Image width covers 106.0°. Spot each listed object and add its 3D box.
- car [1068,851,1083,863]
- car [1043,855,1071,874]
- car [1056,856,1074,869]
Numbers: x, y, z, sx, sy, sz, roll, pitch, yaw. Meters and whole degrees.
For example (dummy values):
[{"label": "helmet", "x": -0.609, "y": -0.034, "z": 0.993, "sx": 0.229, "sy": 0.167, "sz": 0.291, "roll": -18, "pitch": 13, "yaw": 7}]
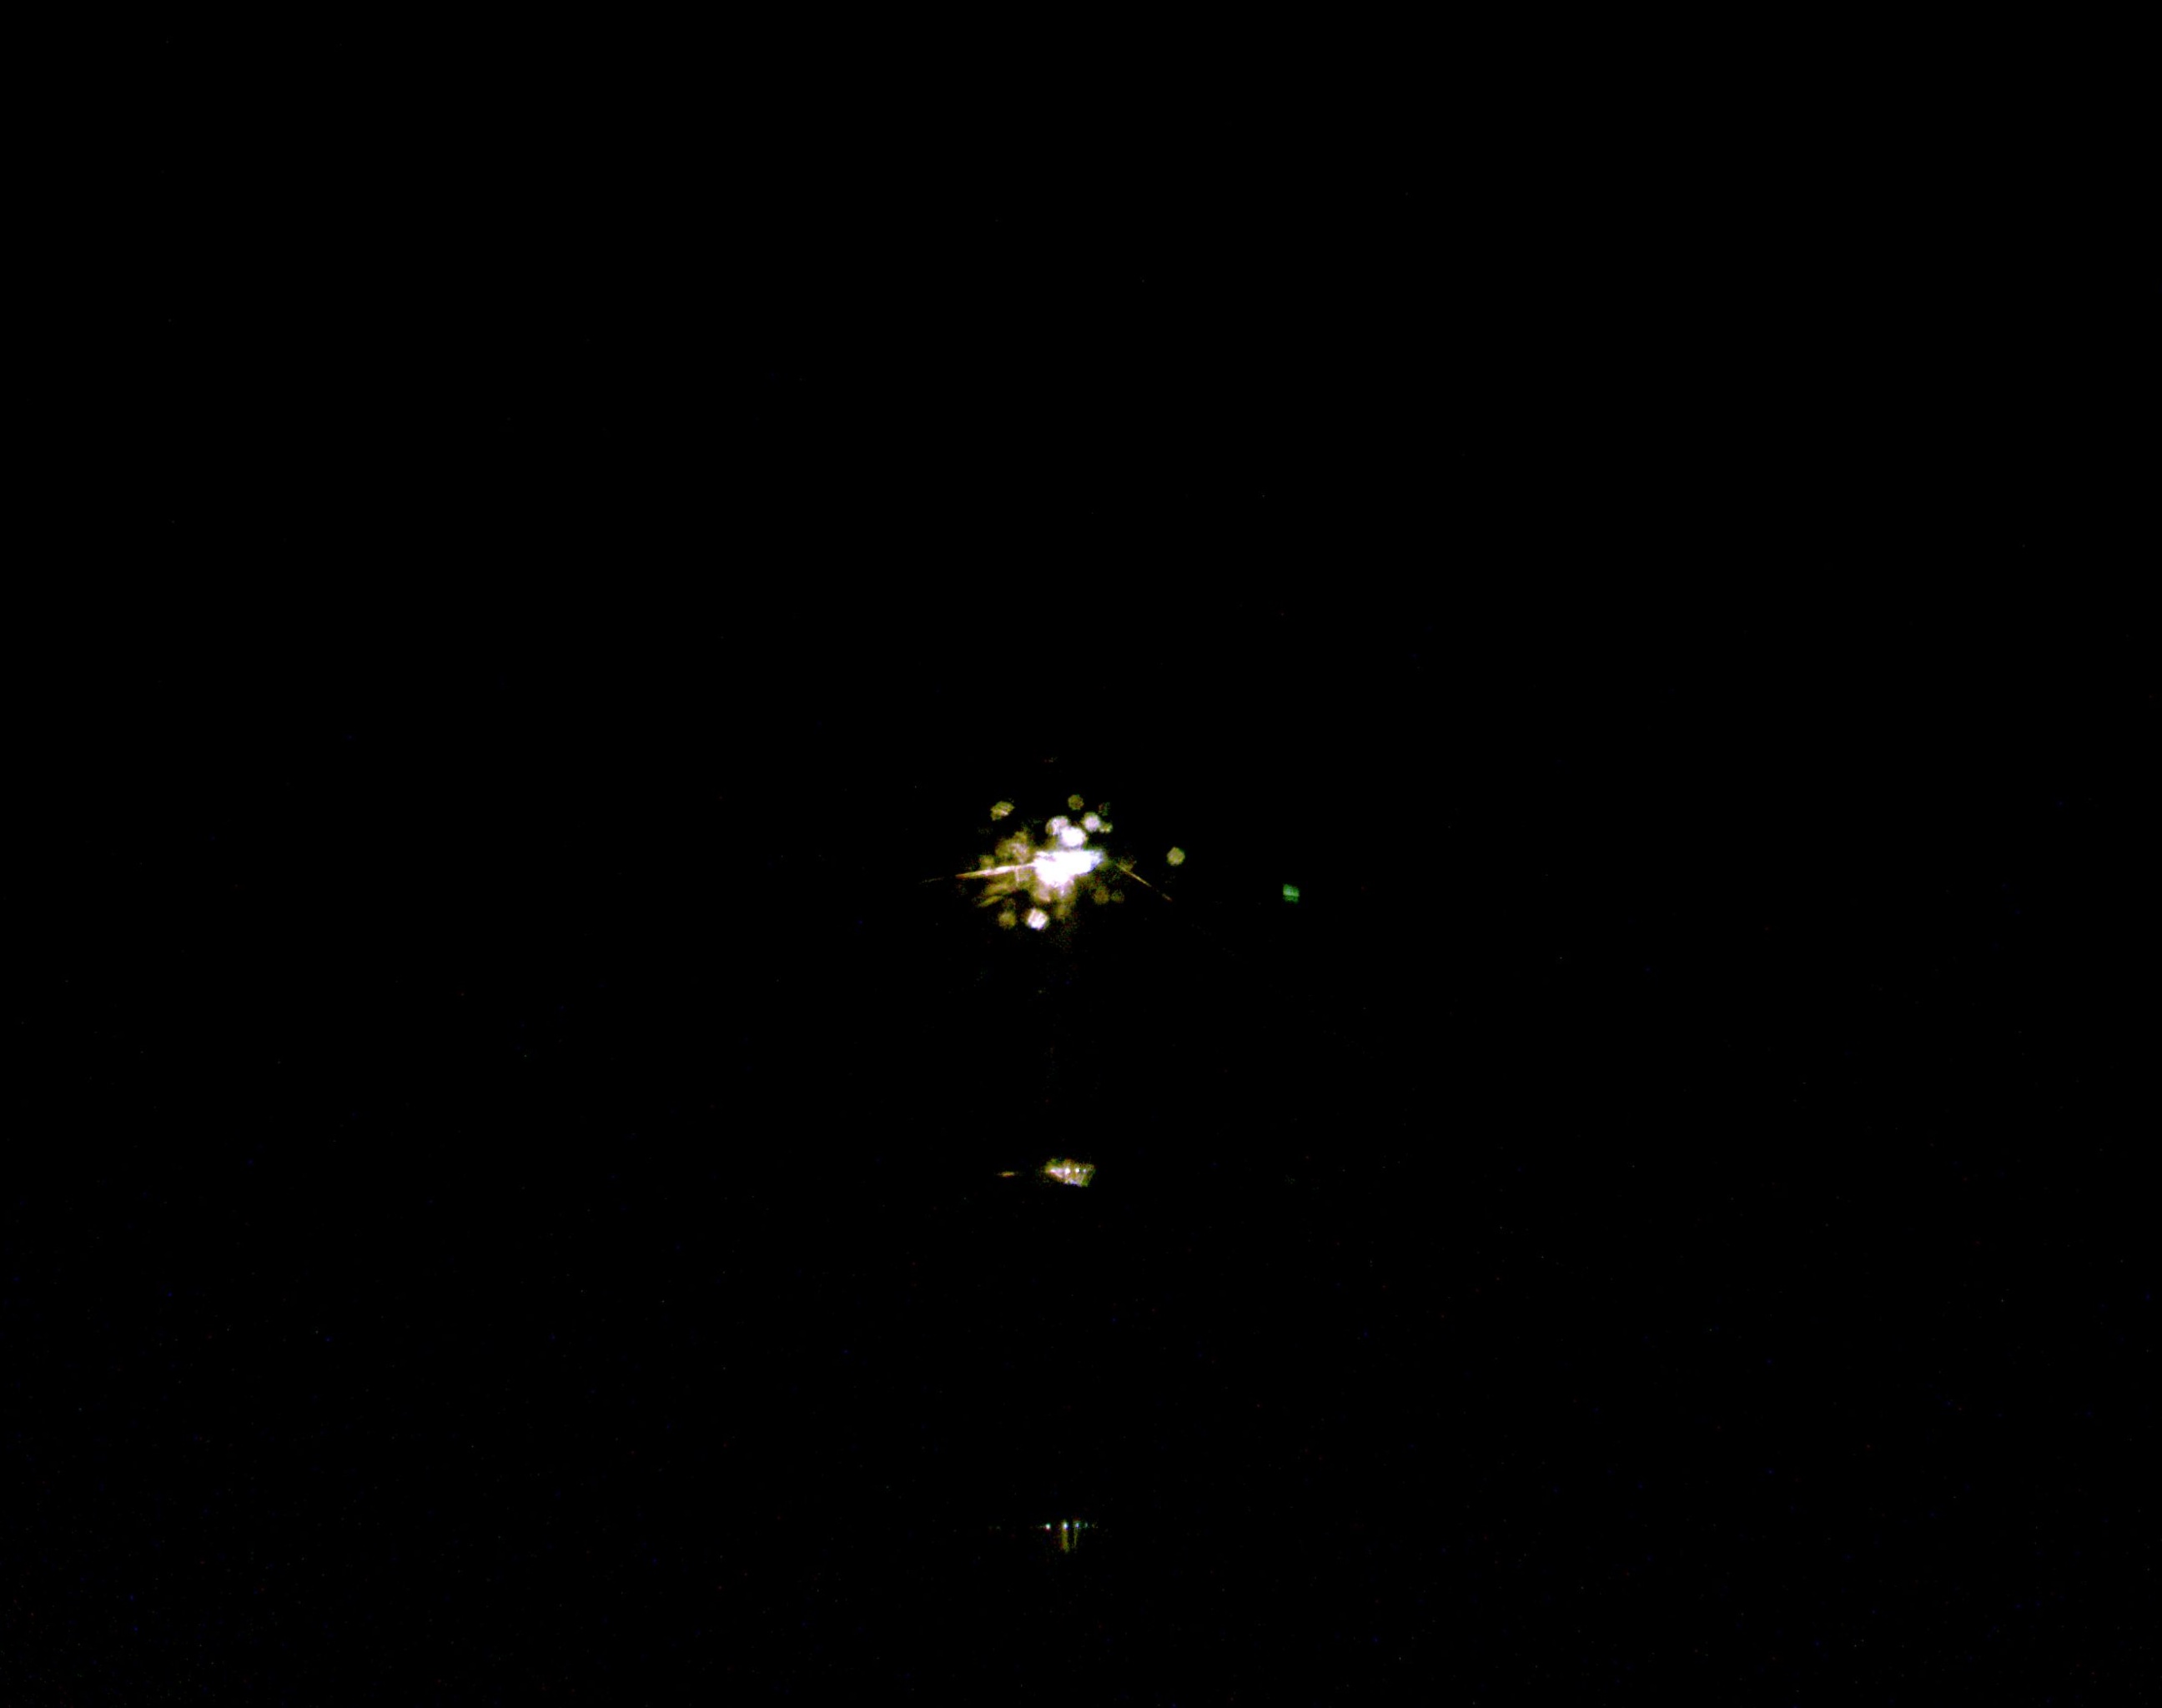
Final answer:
[{"label": "car", "x": -0.794, "y": 0.444, "z": 119.576, "sx": 1.986, "sy": 1.792, "sz": 4.247, "roll": -1, "pitch": 0, "yaw": 1}, {"label": "car", "x": -1.903, "y": 0.808, "z": 64.753, "sx": 1.986, "sy": 1.475, "sz": 3.925, "roll": -1, "pitch": 0, "yaw": 1}, {"label": "car", "x": -1.772, "y": 0.949, "z": 92.223, "sx": 1.837, "sy": 1.480, "sz": 4.249, "roll": -1, "pitch": 0, "yaw": 1}]
